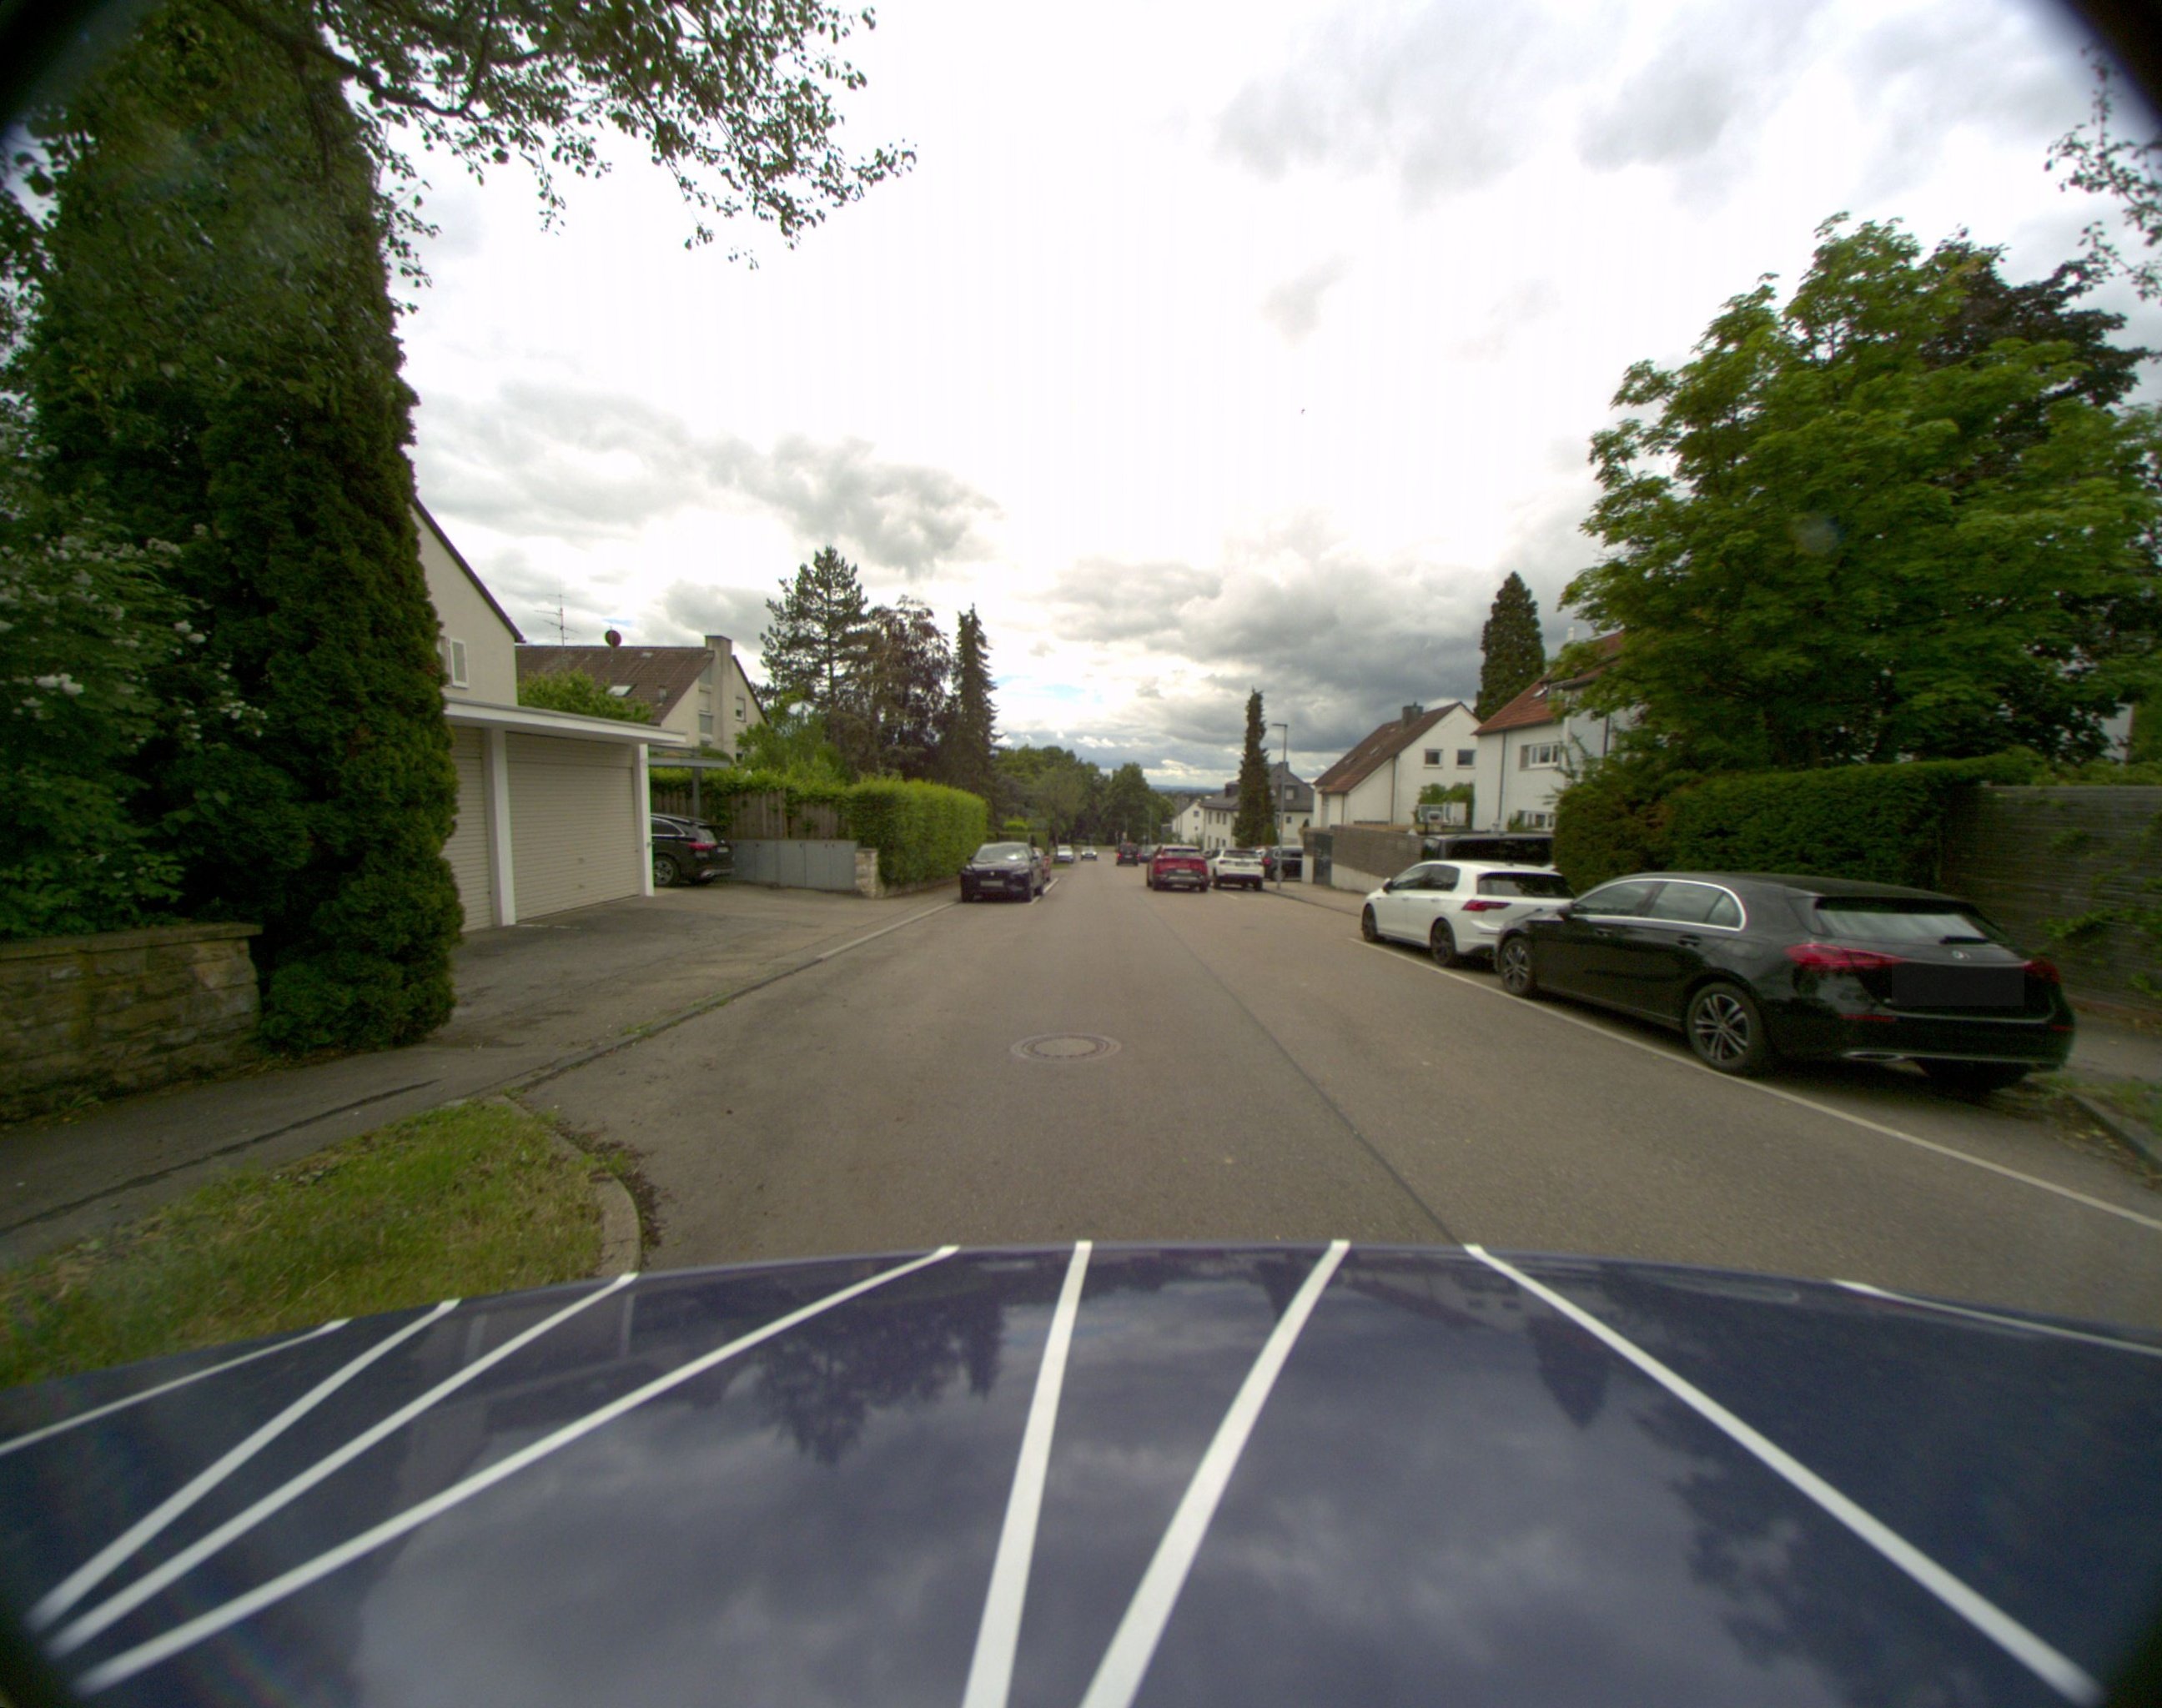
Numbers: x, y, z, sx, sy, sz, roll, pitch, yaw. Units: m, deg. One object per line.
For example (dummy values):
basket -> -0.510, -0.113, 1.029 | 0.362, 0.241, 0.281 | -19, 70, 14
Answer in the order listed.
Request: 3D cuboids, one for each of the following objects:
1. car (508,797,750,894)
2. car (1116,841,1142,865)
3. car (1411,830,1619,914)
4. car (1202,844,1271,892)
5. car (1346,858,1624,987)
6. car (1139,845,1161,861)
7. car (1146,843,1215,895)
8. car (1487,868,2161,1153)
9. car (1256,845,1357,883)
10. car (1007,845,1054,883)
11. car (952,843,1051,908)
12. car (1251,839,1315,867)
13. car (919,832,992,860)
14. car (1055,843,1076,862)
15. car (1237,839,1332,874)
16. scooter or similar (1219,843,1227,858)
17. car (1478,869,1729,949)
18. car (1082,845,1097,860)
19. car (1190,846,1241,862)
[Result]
car -> -10.436, -0.204, 17.795 | 4.375, 1.640, 1.884 | 7, 1, -1
car -> 3.943, -0.142, 63.295 | 1.890, 1.840, 4.401 | 2, 1, 1
car -> 10.867, 0.388, 19.337 | 4.079, 1.939, 2.001 | 1, 3, 9
car -> 6.021, 0.476, 29.922 | 1.841, 1.657, 4.408 | 3, 1, 2
car -> 5.740, 0.860, 11.572 | 1.842, 1.414, 4.407 | 3, 1, 0
car -> 6.895, -0.122, 75.965 | 1.882, 1.528, 3.507 | 1, 1, 1
car -> 3.479, 0.466, 27.387 | 1.946, 1.638, 4.257 | 3, 1, 1
car -> 5.402, 0.949, 6.452 | 1.731, 1.415, 4.078 | 2, 2, 1
car -> 10.656, 0.455, 36.152 | 4.306, 1.602, 1.854 | 2, 1, 5
car -> -2.097, 0.379, 32.594 | 1.665, 1.499, 3.758 | 1, 1, 1
car -> -2.168, 0.538, 22.131 | 1.998, 1.609, 4.514 | -1, 1, 5
car -> 12.220, -0.089, 46.071 | 3.437, 1.569, 1.656 | -1, 2, 2
car -> -7.533, -0.489, 45.866 | 4.221, 1.590, 1.880 | 1, 1, -8
car -> -1.398, -0.147, 69.367 | 1.860, 1.573, 4.170 | 0, 1, -1
car -> 10.479, 0.095, 39.373 | 4.422, 1.620, 1.910 | -2, 1, 0
scooter or similar -> 10.735, -0.263, 57.439 | 0.475, 1.142, 1.456 | 0, 1, 17
car -> 10.876, 1.105, 16.139 | 3.992, 1.437, 1.780 | 1, 1, 14
car -> 0.938, -0.187, 84.224 | 1.568, 1.504, 3.396 | 1, 1, 0
car -> 12.358, 0.019, 69.982 | 4.299, 1.360, 1.903 | 1, 1, -4
